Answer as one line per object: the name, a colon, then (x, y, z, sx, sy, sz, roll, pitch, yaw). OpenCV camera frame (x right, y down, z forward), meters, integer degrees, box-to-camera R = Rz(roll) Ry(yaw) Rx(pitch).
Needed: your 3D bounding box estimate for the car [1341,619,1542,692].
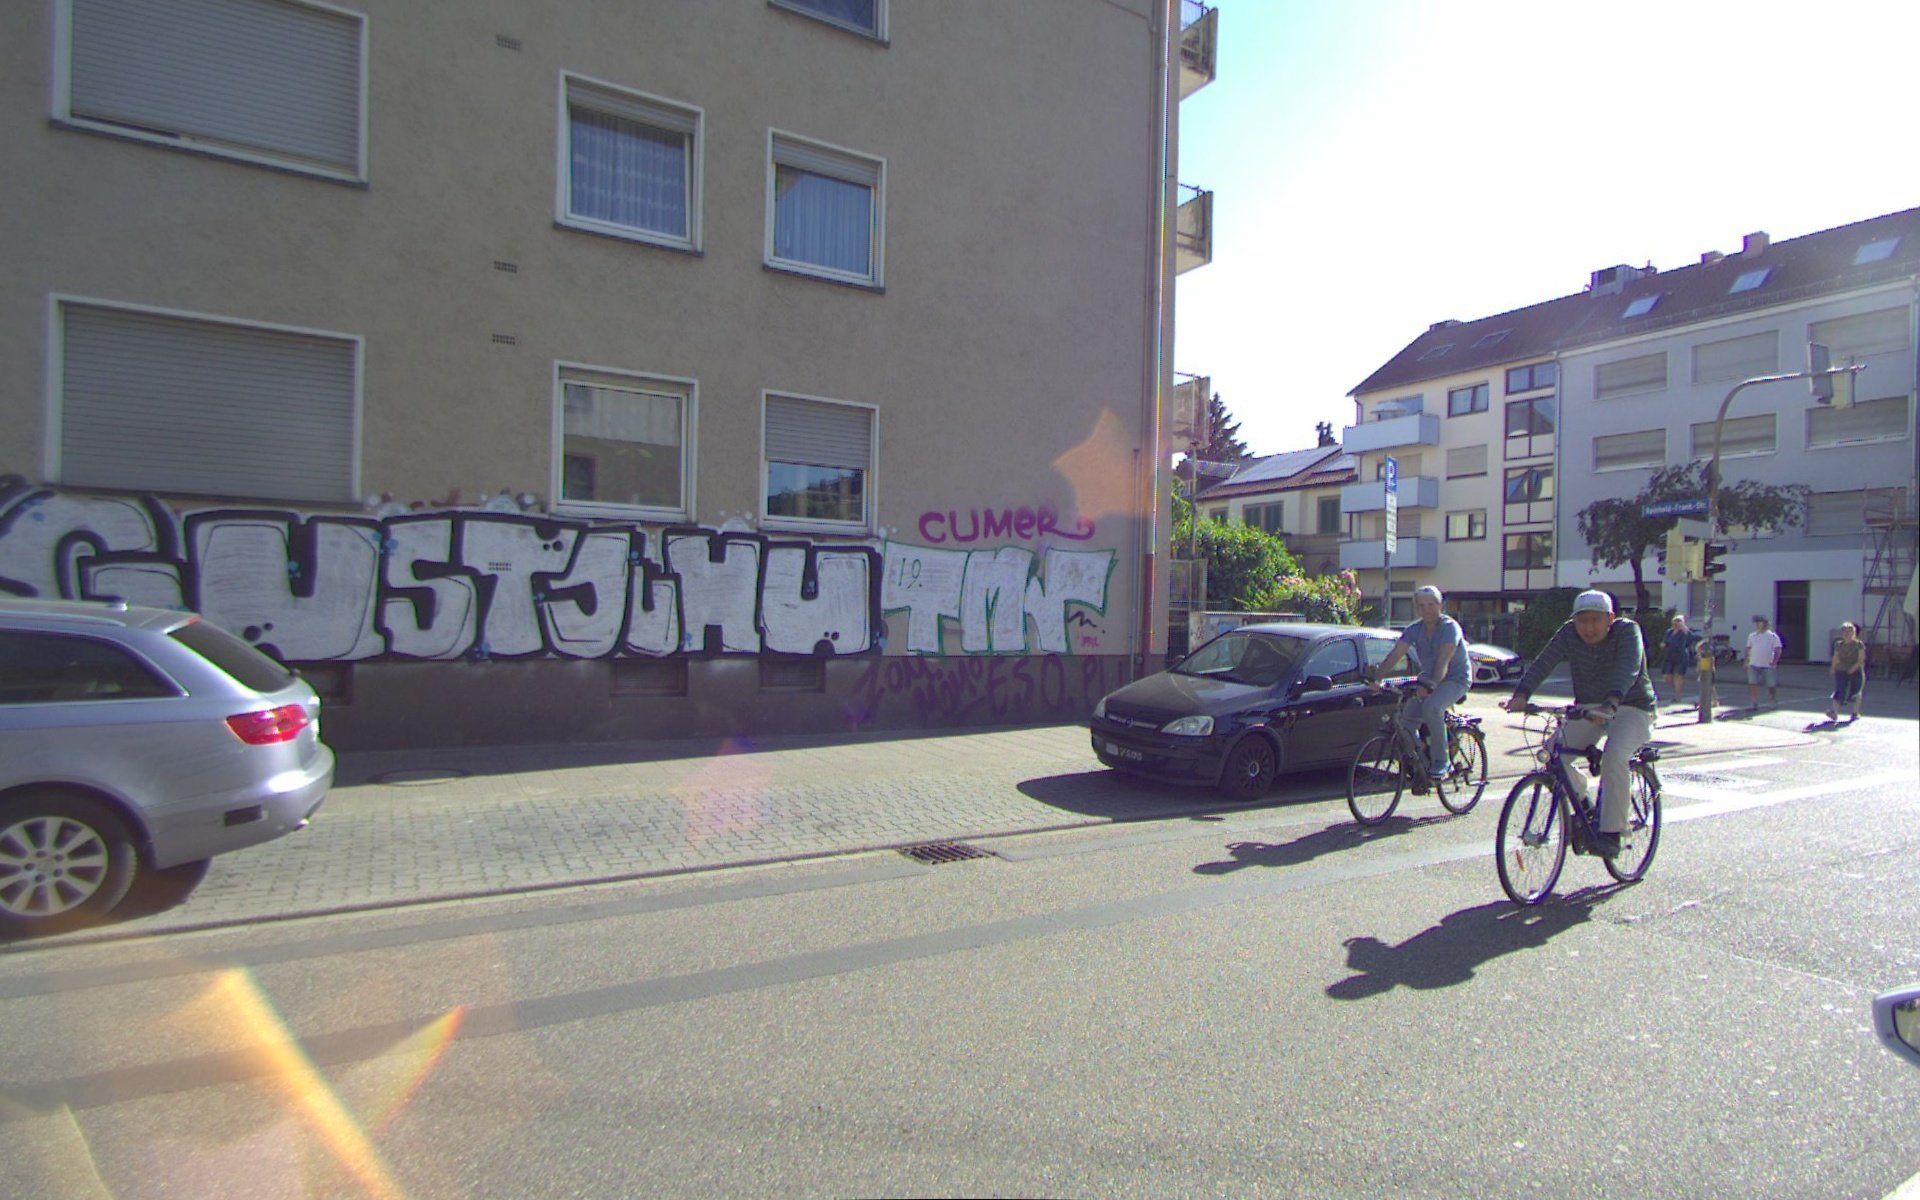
car: (11.899, 1.303, 25.091, 1.910, 1.455, 4.236, -3, 2, -28)

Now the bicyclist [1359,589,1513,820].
bicyclist: (3.654, 0.769, 7.726, 0.888, 1.652, 0.676, 1, -2, -30)

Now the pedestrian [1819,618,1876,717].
pedestrian: (14.803, 1.106, 16.761, 0.555, 1.602, 0.529, 1, 0, -27)

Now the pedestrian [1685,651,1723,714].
pedestrian: (14.118, 1.551, 19.055, 0.525, 1.161, 0.384, 1, 0, -28)

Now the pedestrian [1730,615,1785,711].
pedestrian: (14.590, 1.143, 18.371, 0.661, 1.711, 0.570, 1, 0, -30)

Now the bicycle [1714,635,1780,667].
bicycle: (24.905, 1.613, 31.818, 0.506, 0.952, 1.583, 1, -1, -27)

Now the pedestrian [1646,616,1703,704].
pedestrian: (14.251, 1.181, 20.035, 0.957, 1.705, 0.570, 1, 0, -29)

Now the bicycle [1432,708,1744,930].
bicycle: (3.558, 1.143, 5.647, 1.911, 0.964, 0.676, 1, -2, -30)

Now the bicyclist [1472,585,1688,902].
bicyclist: (3.442, 0.740, 5.590, 0.888, 1.597, 0.676, 1, -2, -30)

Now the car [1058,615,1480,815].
car: (2.965, 0.935, 9.469, 3.813, 1.468, 1.682, 1, 2, -32)

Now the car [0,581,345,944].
car: (-5.576, 0.675, 4.513, 4.747, 1.523, 1.813, 1, 2, -32)

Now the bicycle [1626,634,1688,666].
bicycle: (22.129, 1.584, 31.908, 0.506, 0.952, 1.583, 1, -1, -27)

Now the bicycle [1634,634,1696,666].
bicycle: (22.644, 1.601, 32.266, 0.506, 0.952, 1.583, 1, -1, -27)

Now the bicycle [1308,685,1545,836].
bicycle: (3.590, 1.169, 7.690, 1.911, 0.964, 0.676, 1, -2, -30)
